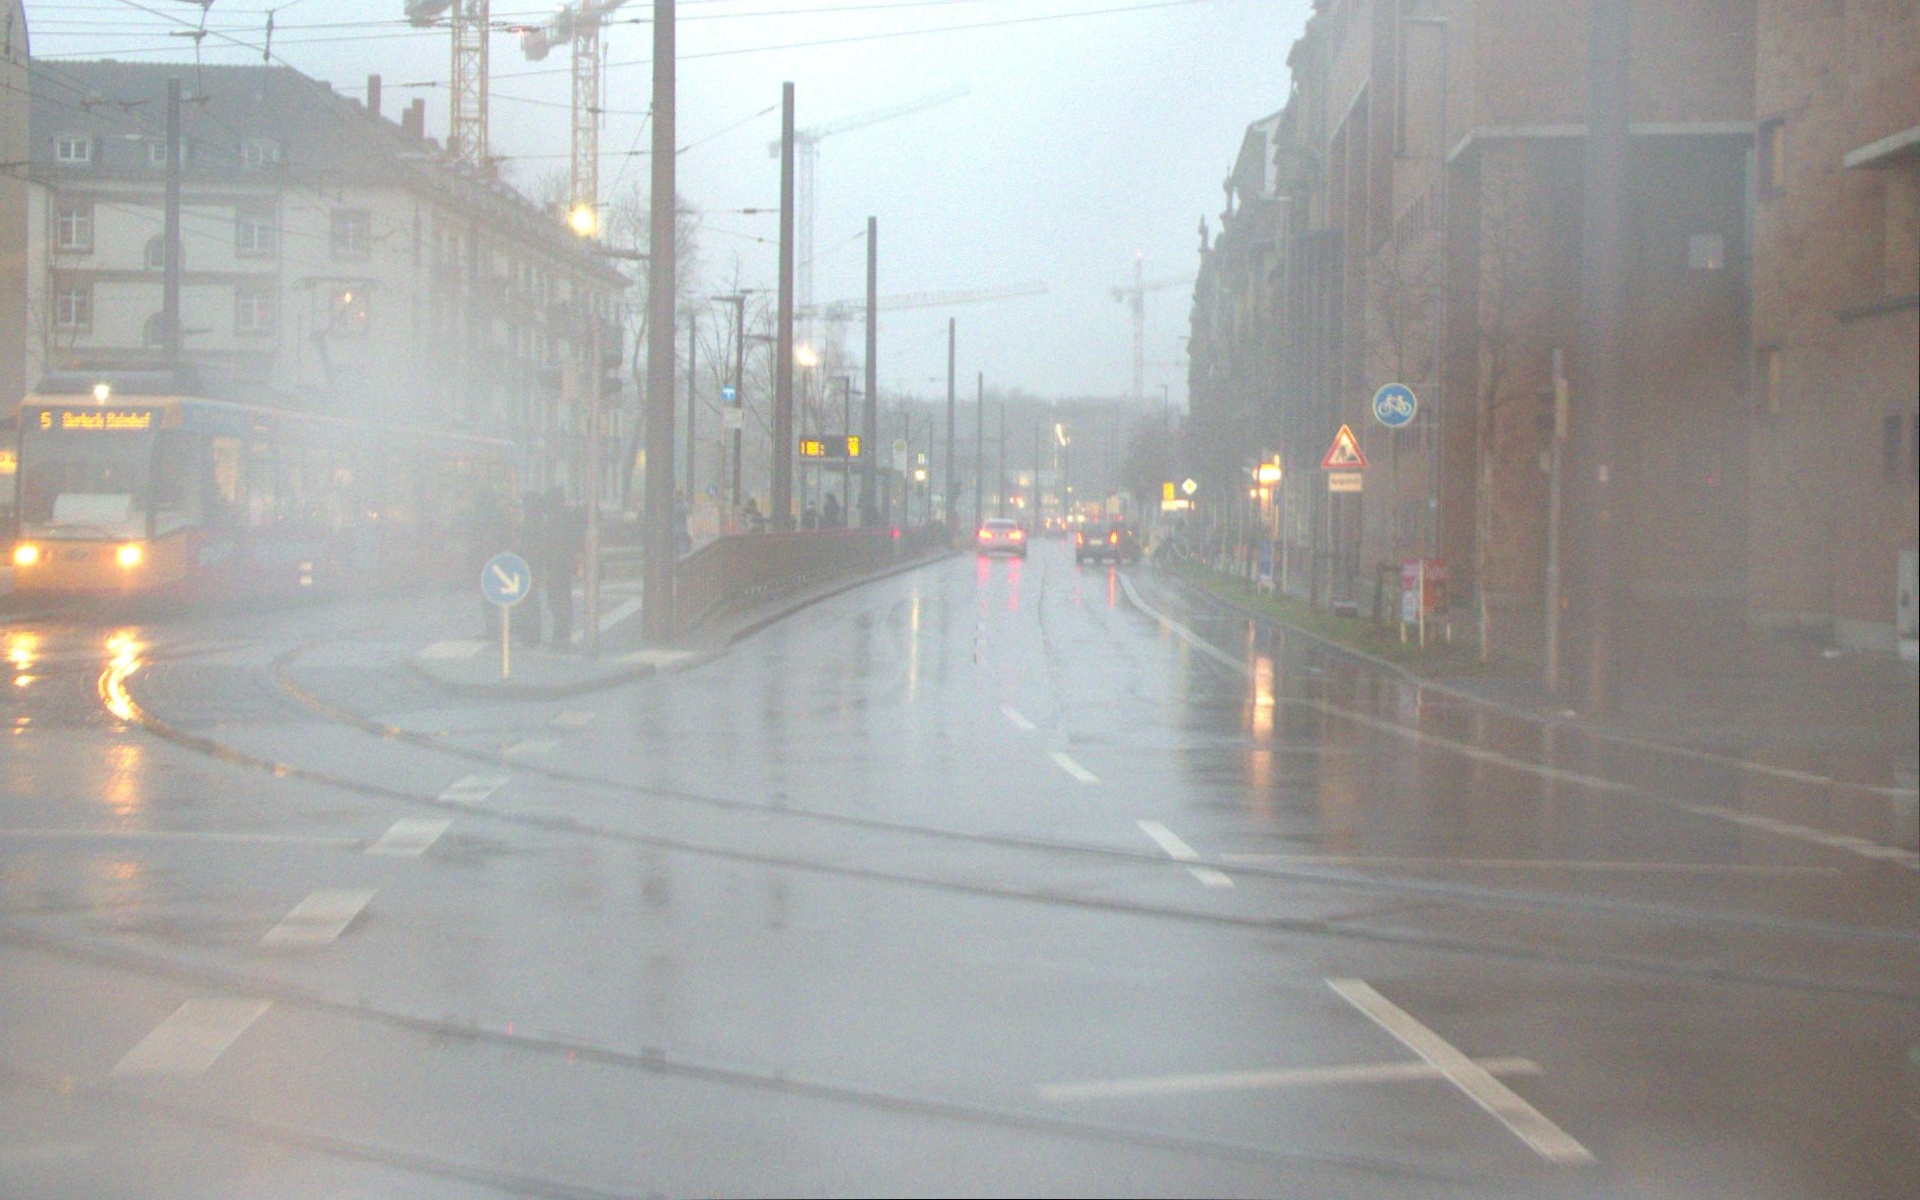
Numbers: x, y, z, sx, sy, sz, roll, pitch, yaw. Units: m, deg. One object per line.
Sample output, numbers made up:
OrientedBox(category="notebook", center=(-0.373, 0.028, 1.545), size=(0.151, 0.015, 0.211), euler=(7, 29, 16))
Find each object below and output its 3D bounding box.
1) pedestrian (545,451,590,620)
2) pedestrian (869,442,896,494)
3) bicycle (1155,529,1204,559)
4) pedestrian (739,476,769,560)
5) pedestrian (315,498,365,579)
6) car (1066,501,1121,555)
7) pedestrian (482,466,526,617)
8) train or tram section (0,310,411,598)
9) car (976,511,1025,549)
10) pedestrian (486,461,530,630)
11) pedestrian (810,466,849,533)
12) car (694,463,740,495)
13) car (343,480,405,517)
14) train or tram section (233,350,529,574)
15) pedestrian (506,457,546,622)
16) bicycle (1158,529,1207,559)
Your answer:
OrientedBox(category="pedestrian", center=(-4.343, -0.719, 38.077), size=(0.412, 1.839, 0.670), euler=(1, 2, -3))
OrientedBox(category="pedestrian", center=(-2.265, -3.849, 100.278), size=(0.679, 1.511, 0.619), euler=(1, 2, -10))
OrientedBox(category="bicycle", center=(7.900, -2.027, 123.819), size=(1.730, 1.051, 0.371), euler=(0, 2, 1))
OrientedBox(category="pedestrian", center=(-4.206, -1.680, 70.089), size=(0.540, 1.686, 0.643), euler=(1, 2, 0))
OrientedBox(category="pedestrian", center=(-9.081, -0.904, 50.394), size=(0.580, 1.148, 0.490), euler=(3, 2, 4))
OrientedBox(category="car", center=(5.163, -2.801, 132.658), size=(1.994, 2.006, 4.000), euler=(1, 2, 4))
OrientedBox(category="pedestrian", center=(-5.263, -0.677, 39.692), size=(0.433, 1.729, 0.473), euler=(1, 2, -3))
OrientedBox(category="train or tram section", center=(-10.794, -2.069, 50.269), size=(2.950, 3.576, 12.255), euler=(3, 2, 2))
OrientedBox(category="car", center=(1.621, -2.800, 137.023), size=(1.784, 1.462, 3.148), euler=(1, 2, 4))
OrientedBox(category="pedestrian", center=(-5.280, -0.642, 40.181), size=(0.433, 1.960, 0.473), euler=(1, 2, -3))
OrientedBox(category="pedestrian", center=(-3.335, -2.567, 87.840), size=(0.776, 1.698, 0.773), euler=(1, 2, -16))
OrientedBox(category="car", center=(-10.719, -5.319, 151.633), size=(1.682, 1.349, 3.546), euler=(2, 2, 1))
OrientedBox(category="car", center=(-22.607, -3.924, 132.770), size=(1.682, 1.349, 3.546), euler=(2, 2, 1))
OrientedBox(category="train or tram section", center=(-10.241, -2.445, 62.185), size=(2.925, 3.565, 11.035), euler=(3, 2, 2))
OrientedBox(category="pedestrian", center=(-4.728, -0.661, 37.474), size=(0.359, 1.780, 0.440), euler=(1, 2, -3))
OrientedBox(category="bicycle", center=(7.973, -2.012, 123.203), size=(1.730, 1.051, 0.371), euler=(0, 2, 1))
